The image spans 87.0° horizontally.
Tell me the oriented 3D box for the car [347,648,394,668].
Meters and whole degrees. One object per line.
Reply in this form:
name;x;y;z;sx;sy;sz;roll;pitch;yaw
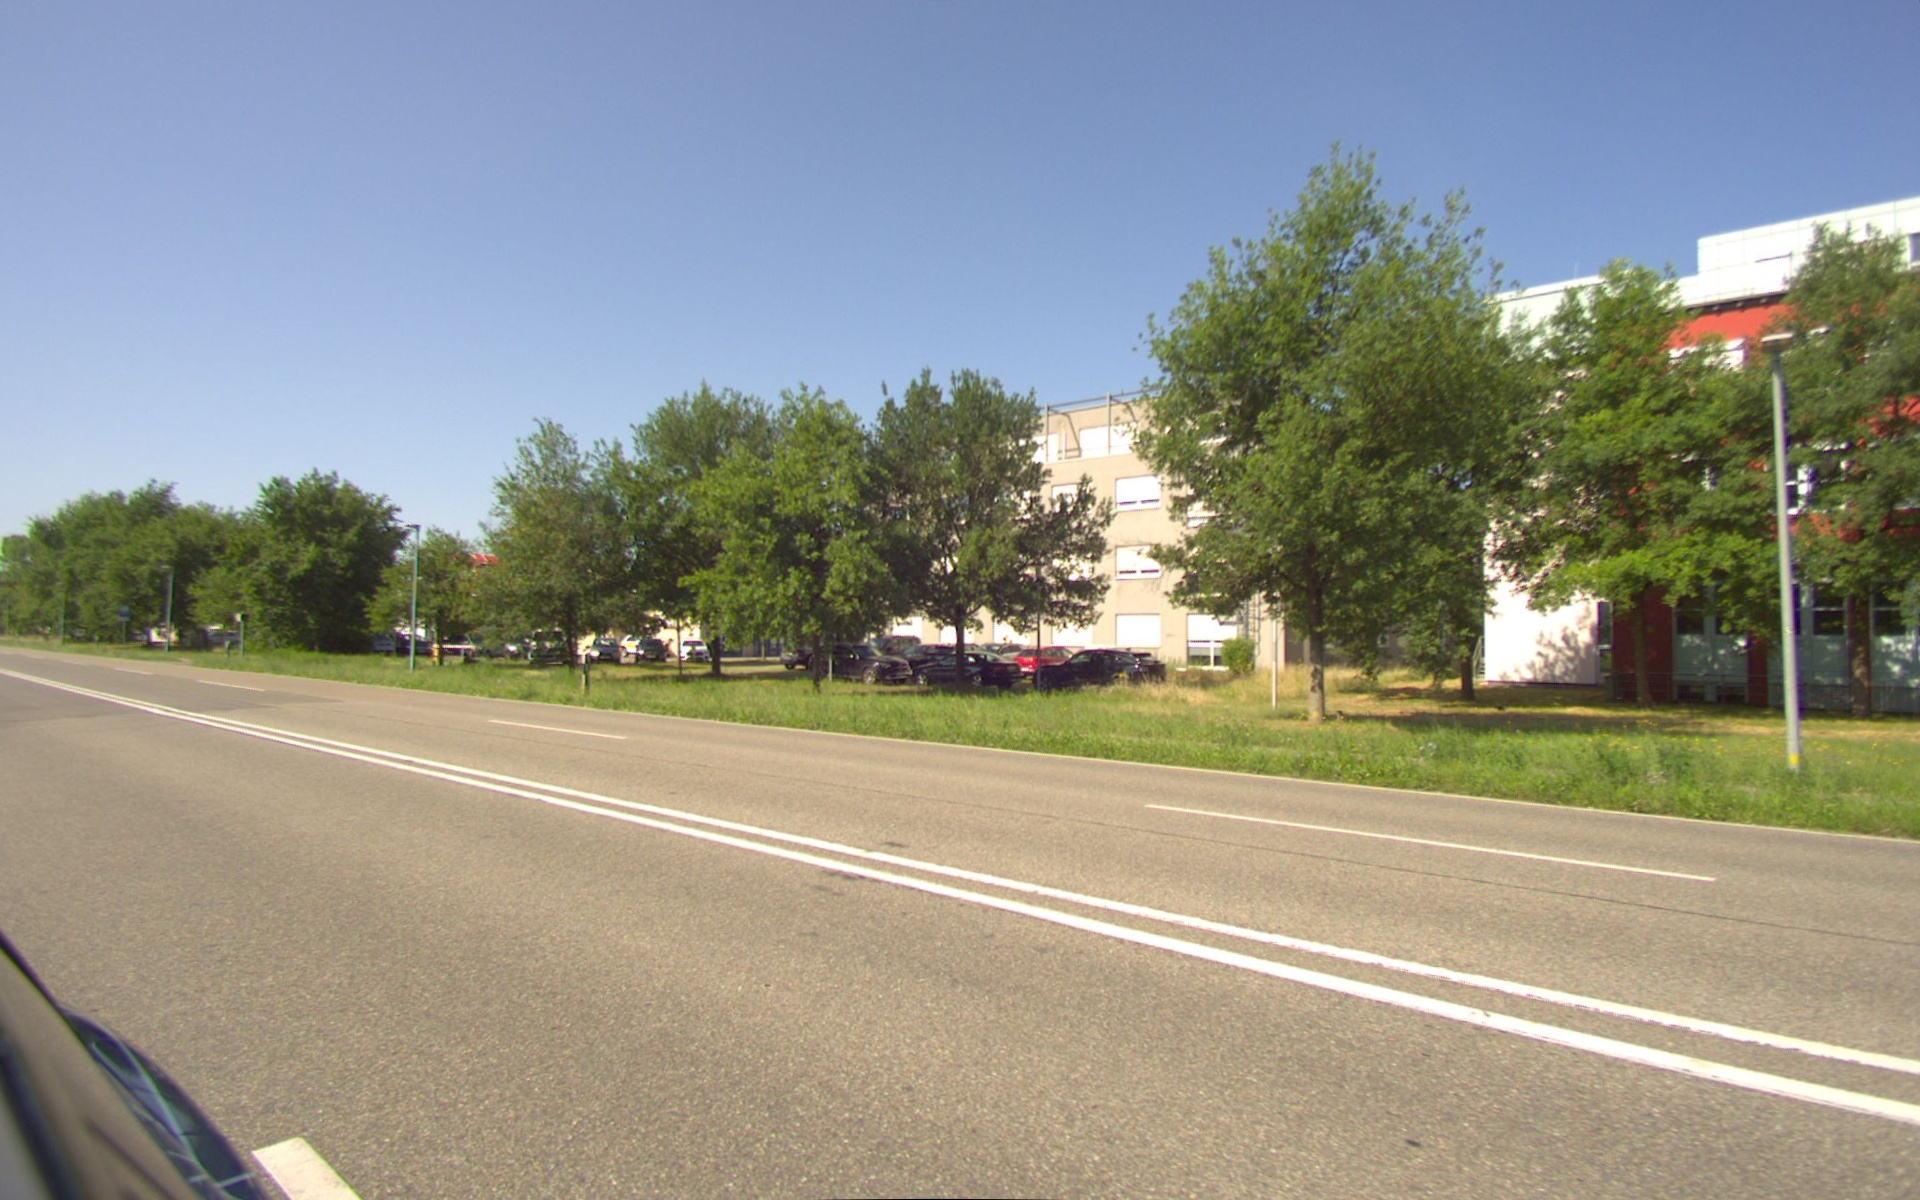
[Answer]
car;-41.173;4.048;70.678;3.998;1.360;1.654;-2;-3;41

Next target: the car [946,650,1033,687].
car;1.383;3.033;45.378;1.886;1.548;3.946;-2;-3;40

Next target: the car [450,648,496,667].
car;-36.442;4.288;75.637;3.998;1.360;1.654;-2;-3;41

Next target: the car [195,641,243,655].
car;-80.998;5.295;110.693;1.756;1.512;3.945;-2;-3;41

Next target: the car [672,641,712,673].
car;-16.456;3.448;61.981;2.038;1.820;5.031;1;-2;-18

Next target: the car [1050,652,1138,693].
car;5.638;2.972;42.342;1.741;1.598;4.093;-2;-3;40

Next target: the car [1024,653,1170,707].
car;4.411;2.564;33.060;4.546;1.590;1.725;-2;-3;41

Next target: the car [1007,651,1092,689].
car;3.921;3.003;43.910;1.741;1.548;3.946;-2;-3;40

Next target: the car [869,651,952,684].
car;-2.351;3.238;49.059;1.886;1.548;3.946;-2;-3;40

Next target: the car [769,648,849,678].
car;-7.994;3.320;53.827;1.886;1.548;3.946;-2;-3;40

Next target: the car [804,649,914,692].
car;-4.073;2.778;40.384;4.546;1.590;1.725;-2;-3;41

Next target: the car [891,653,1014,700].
car;-0.312;2.757;37.266;4.546;1.590;1.725;-2;-3;41

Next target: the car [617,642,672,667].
car;-22.414;3.836;71.819;4.166;1.670;1.837;-2;-3;41

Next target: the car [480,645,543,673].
car;-27.886;3.652;62.845;4.188;1.664;1.909;-2;-3;40

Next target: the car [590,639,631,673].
car;-19.689;3.132;57.070;2.038;1.820;5.031;1;-2;-18

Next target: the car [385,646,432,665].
car;-39.824;3.987;73.023;3.998;1.360;1.654;-2;-3;41

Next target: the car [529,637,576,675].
car;-21.949;2.957;54.685;2.038;1.944;5.031;1;-2;-18

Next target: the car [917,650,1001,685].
car;-0.026;3.139;47.549;1.886;1.548;3.946;-2;-3;40
